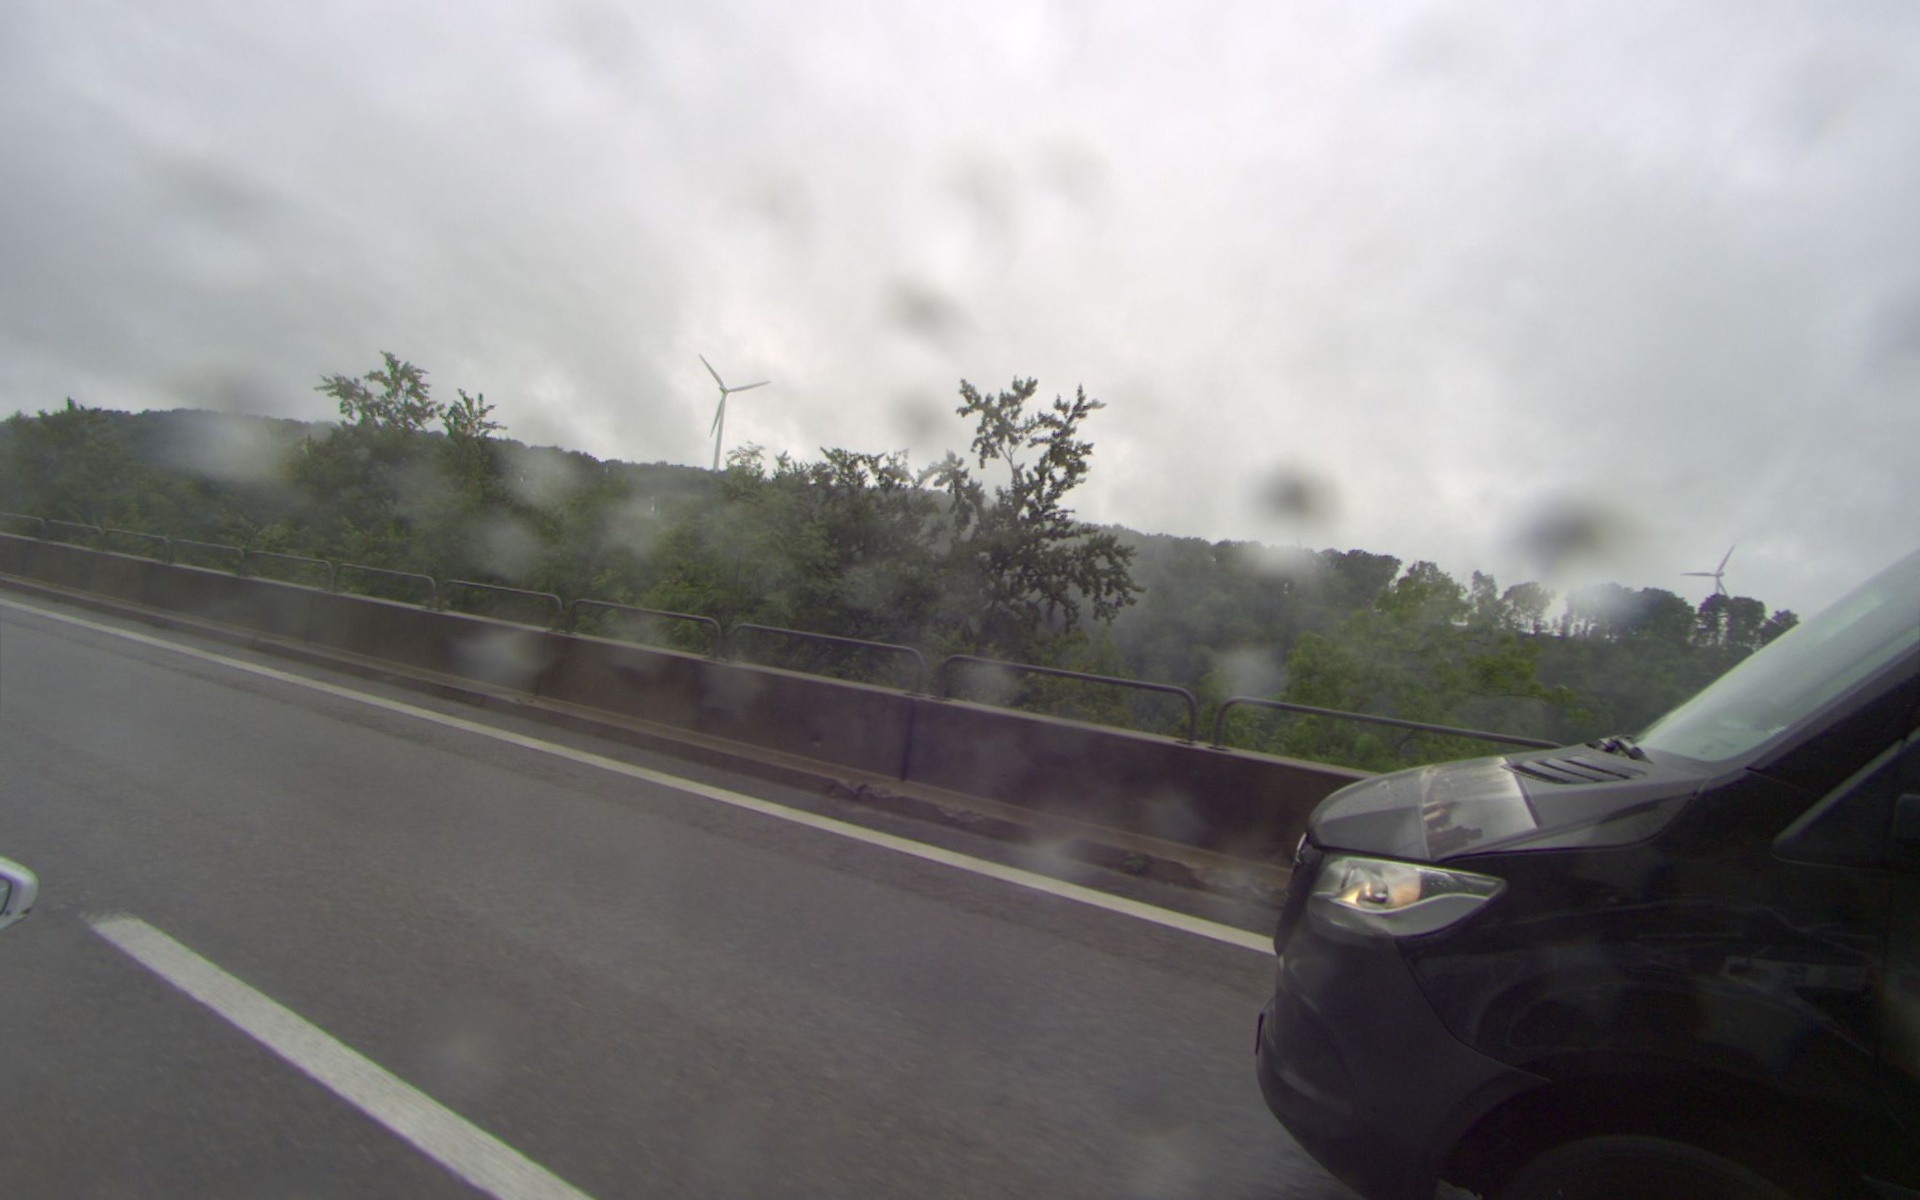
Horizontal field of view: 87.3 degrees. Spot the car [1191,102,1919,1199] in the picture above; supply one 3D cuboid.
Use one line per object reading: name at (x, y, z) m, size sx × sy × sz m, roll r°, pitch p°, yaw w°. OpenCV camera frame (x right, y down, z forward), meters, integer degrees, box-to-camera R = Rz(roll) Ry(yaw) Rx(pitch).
car at (3.936, 0.731, 1.371) m, size 6.593 × 2.524 × 1.997 m, roll 7°, pitch -1°, yaw 31°
